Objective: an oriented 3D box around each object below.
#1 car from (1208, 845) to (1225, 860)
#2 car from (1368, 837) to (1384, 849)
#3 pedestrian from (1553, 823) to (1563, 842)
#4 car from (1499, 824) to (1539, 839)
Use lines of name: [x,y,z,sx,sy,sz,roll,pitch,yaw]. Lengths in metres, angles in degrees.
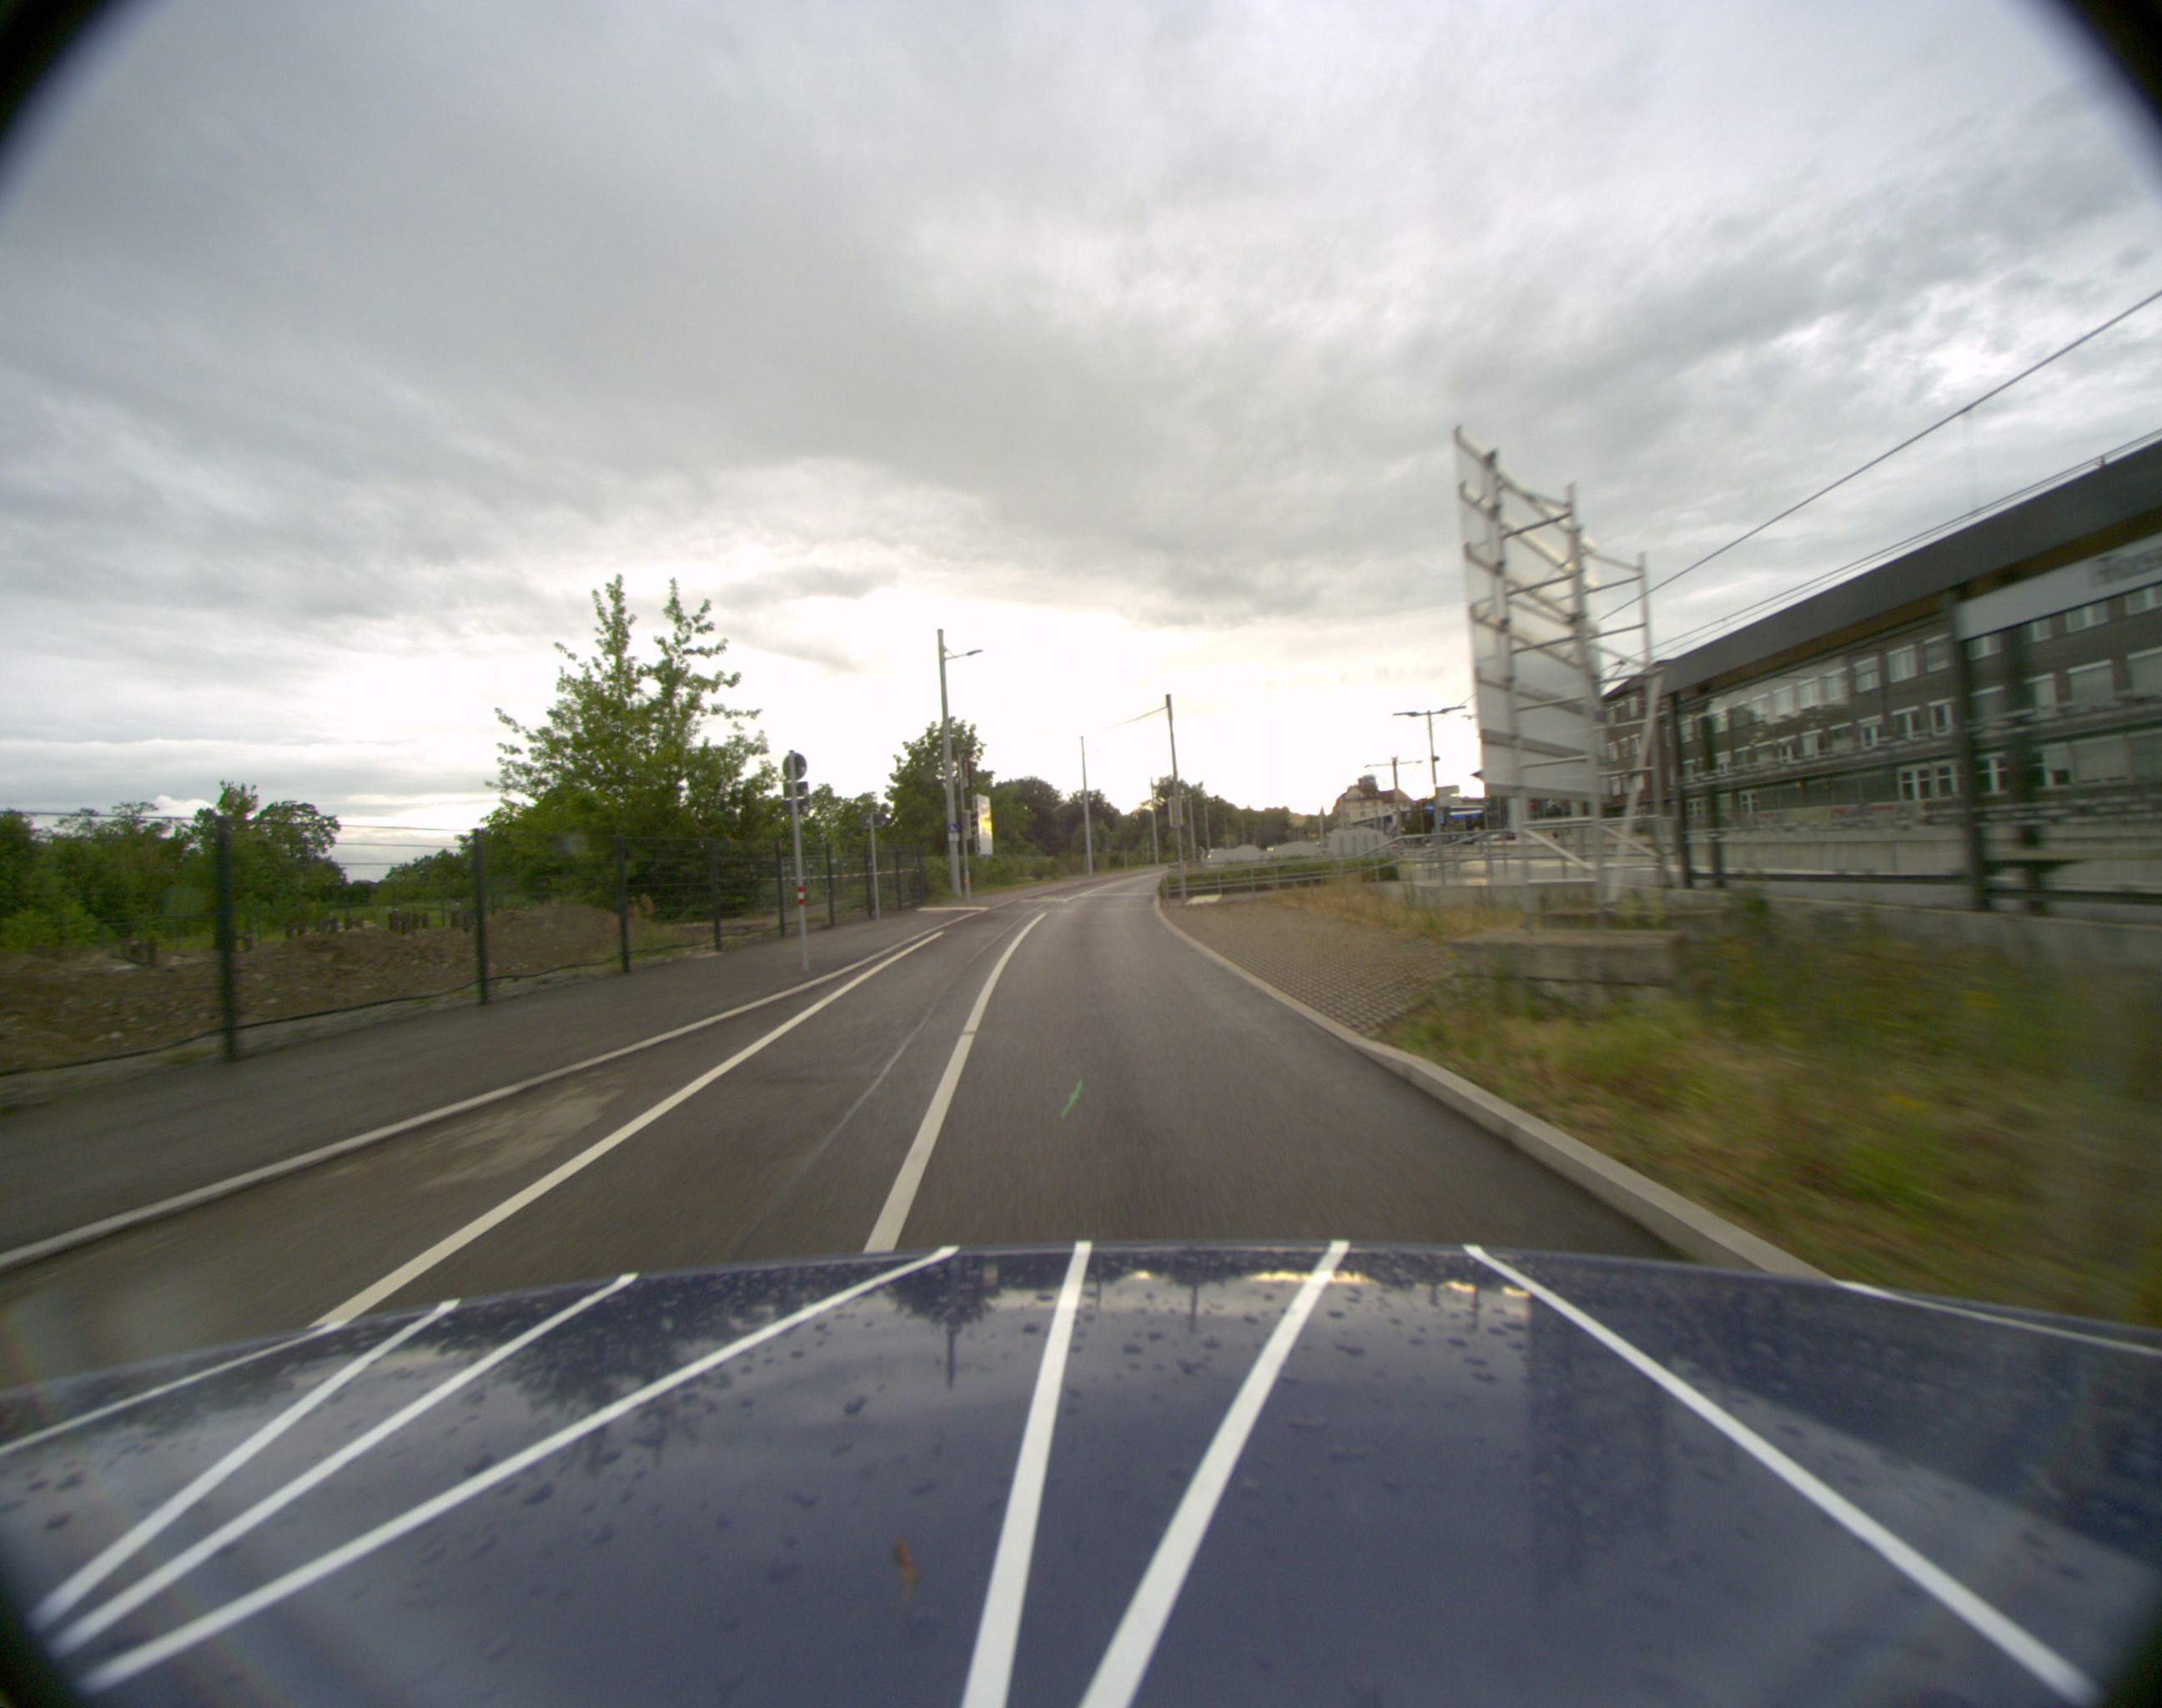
car: [18.612,-0.181,104.243,1.996,2.002,4.004,-2,0,14]
car: [54.481,-1.985,140.256,1.997,2.002,4.003,-2,0,10]
pedestrian: [51.512,-2.315,82.040,0.581,2.002,0.728,-3,1,-23]
car: [62.044,-3.168,107.706,4.572,1.750,2.002,-3,0,13]
